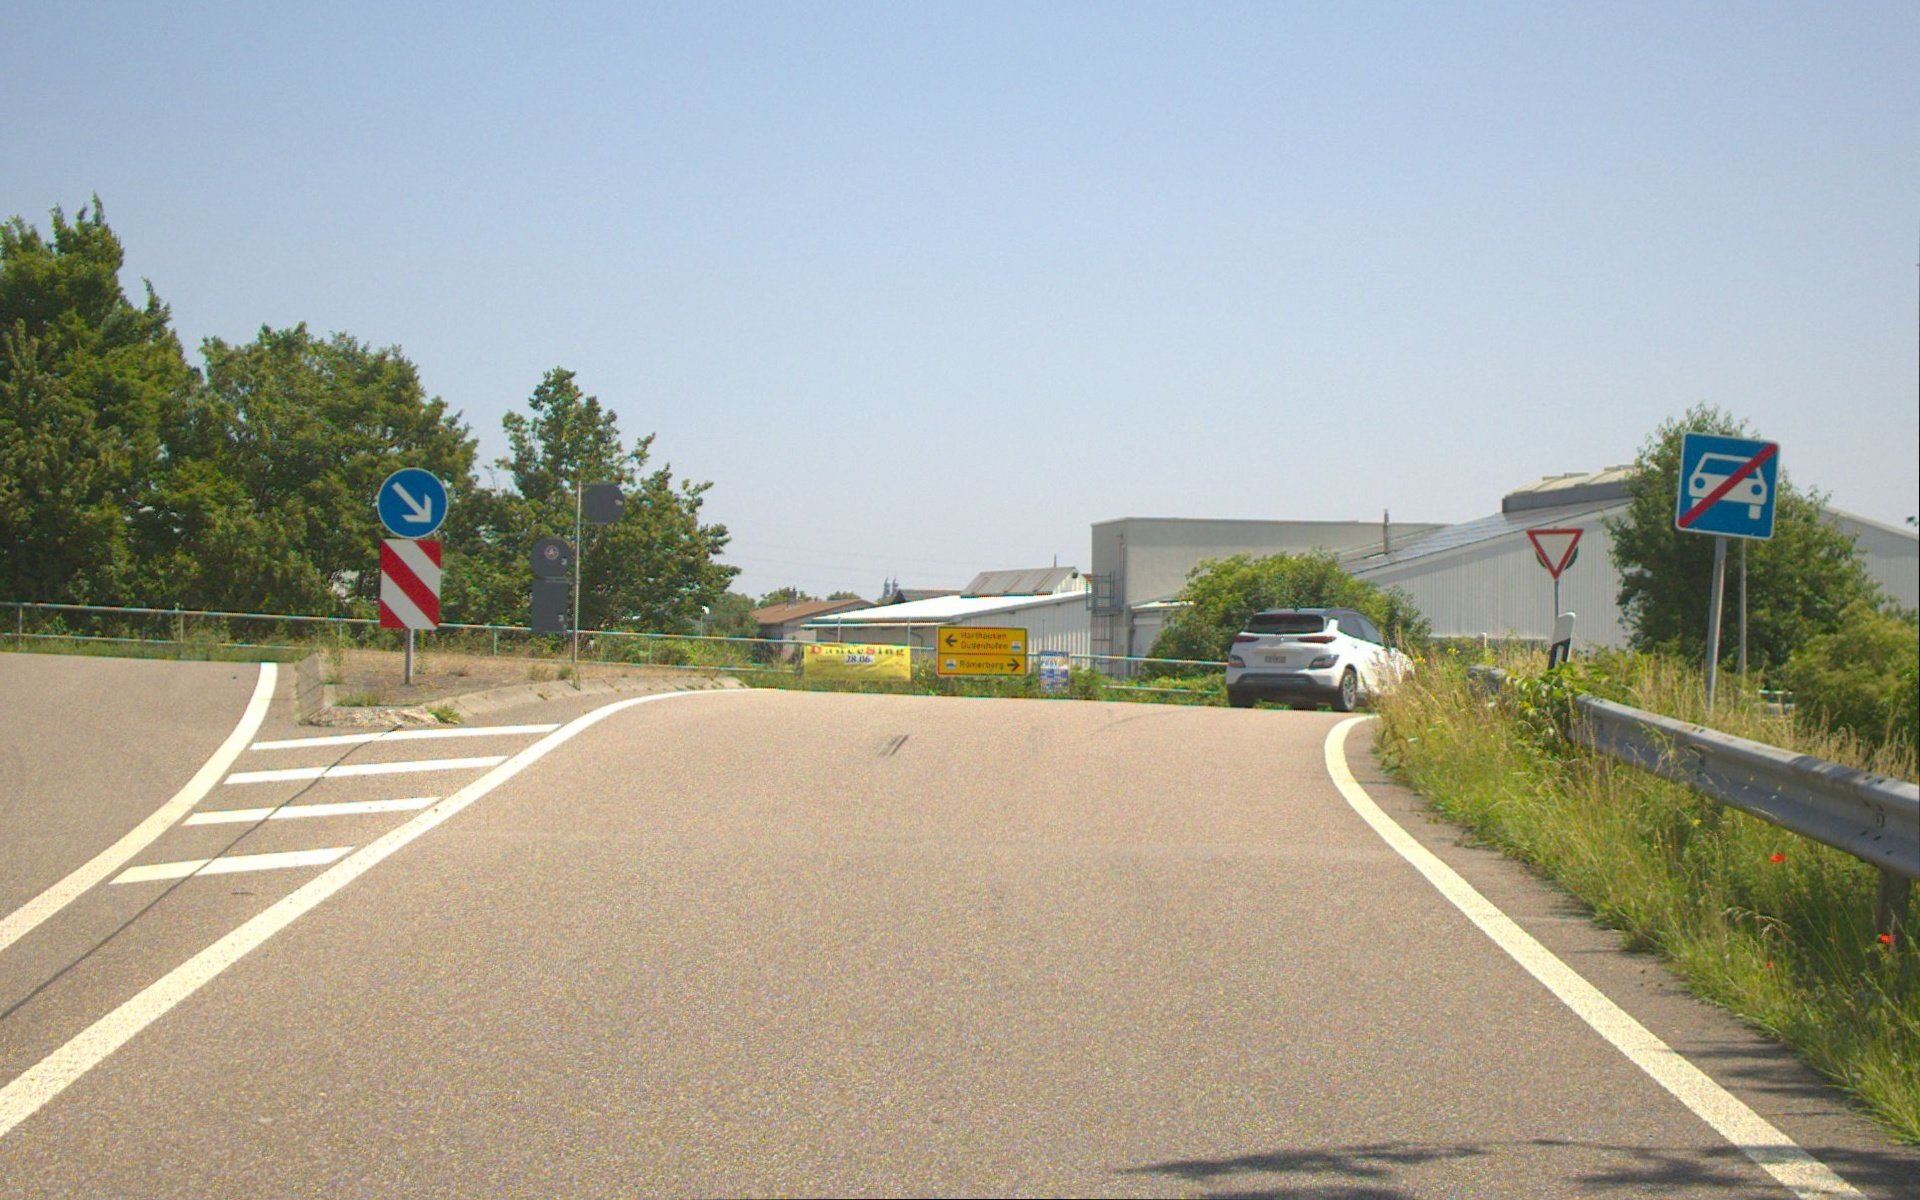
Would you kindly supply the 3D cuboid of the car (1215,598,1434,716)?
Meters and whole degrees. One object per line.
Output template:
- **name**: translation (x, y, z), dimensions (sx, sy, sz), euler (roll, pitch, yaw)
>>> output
- **car**: translation (5.478, 0.852, 51.307), dimensions (1.811, 1.685, 3.993), euler (0, -1, 29)
